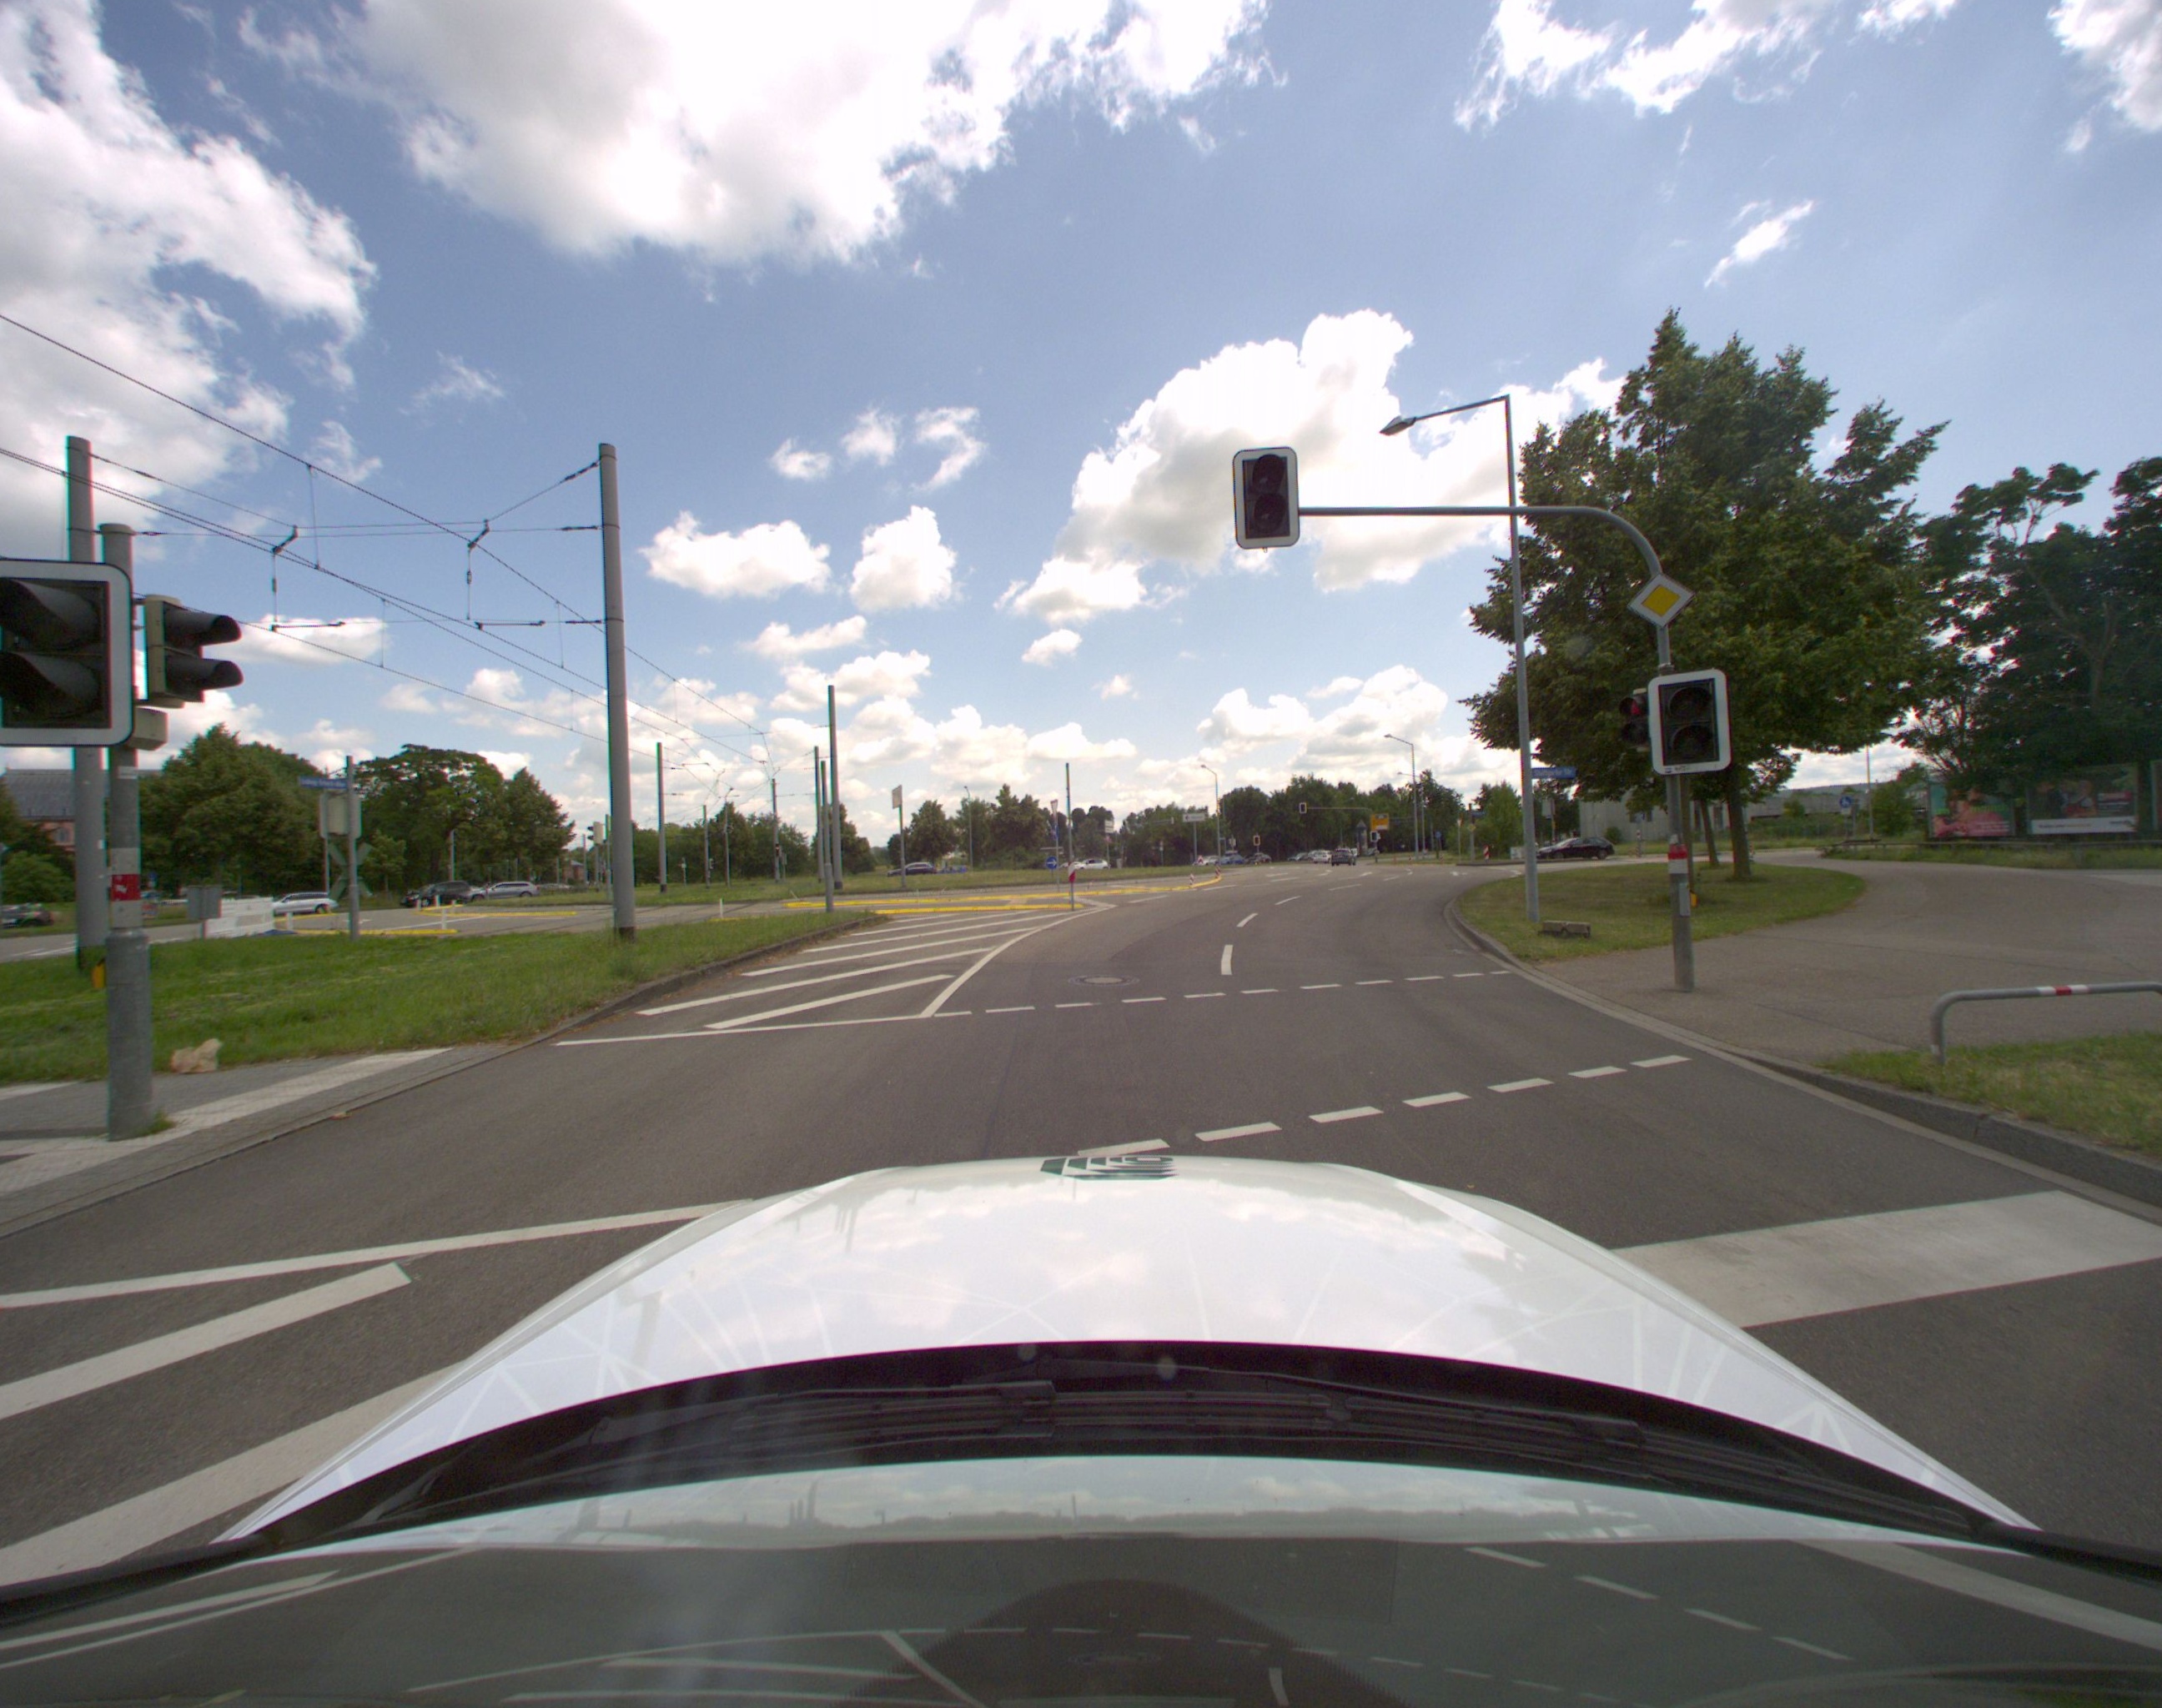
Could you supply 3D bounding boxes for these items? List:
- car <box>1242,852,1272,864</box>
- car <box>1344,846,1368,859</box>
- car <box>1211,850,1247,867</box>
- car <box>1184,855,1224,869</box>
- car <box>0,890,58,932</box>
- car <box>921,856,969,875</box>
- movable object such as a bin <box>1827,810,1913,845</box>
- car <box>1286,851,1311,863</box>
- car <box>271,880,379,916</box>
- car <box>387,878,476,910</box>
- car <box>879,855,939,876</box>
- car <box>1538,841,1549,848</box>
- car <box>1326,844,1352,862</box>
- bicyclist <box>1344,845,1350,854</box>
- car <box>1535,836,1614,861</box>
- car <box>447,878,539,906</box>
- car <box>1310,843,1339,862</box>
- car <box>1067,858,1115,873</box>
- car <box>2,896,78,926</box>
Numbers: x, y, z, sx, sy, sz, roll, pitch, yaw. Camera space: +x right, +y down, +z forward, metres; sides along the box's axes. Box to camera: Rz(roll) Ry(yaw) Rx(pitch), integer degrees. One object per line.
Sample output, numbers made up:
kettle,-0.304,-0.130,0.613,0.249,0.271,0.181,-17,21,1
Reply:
car,22.529,0.530,103.993,4.003,1.340,1.780,-3,-2,-45
car,43.483,-0.259,128.770,1.820,1.799,4.818,-5,-2,40
car,16.698,0.513,91.701,1.734,1.798,4.435,-2,0,43
car,14.342,0.928,94.670,4.532,1.521,2.099,-2,0,-41
car,-55.543,2.979,41.033,1.974,2.013,4.756,-2,0,34
car,-14.217,1.147,85.200,4.719,1.791,1.839,-2,0,-15
movable object such as a bin,91.076,-3.011,94.060,7.584,3.852,3.042,0,-1,-7
car,30.209,0.406,112.827,1.887,1.423,4.218,-3,-1,36
car,-49.192,2.829,53.139,1.978,2.013,4.747,-2,0,17
car,-47.521,2.875,59.698,1.977,2.013,4.748,-2,0,18
car,-15.846,1.074,74.946,5.078,1.674,1.984,-2,0,-24
car,116.250,-2.386,204.736,1.822,1.486,3.891,-2,0,40
car,24.888,-0.104,78.420,1.976,1.626,4.332,-3,-1,22
bicyclist,49.529,-0.801,151.572,0.822,1.565,0.889,0,1,40
car,31.599,-0.351,52.201,3.971,1.463,1.690,-1,0,2
car,-42.302,2.695,58.728,2.040,1.626,4.975,0,1,31
car,27.779,-0.158,92.859,1.974,2.013,4.026,-2,0,34
car,0.982,1.136,80.166,4.321,1.329,1.982,-2,0,-27
car,-79.760,4.350,62.466,2.004,2.013,3.965,-2,0,-27
